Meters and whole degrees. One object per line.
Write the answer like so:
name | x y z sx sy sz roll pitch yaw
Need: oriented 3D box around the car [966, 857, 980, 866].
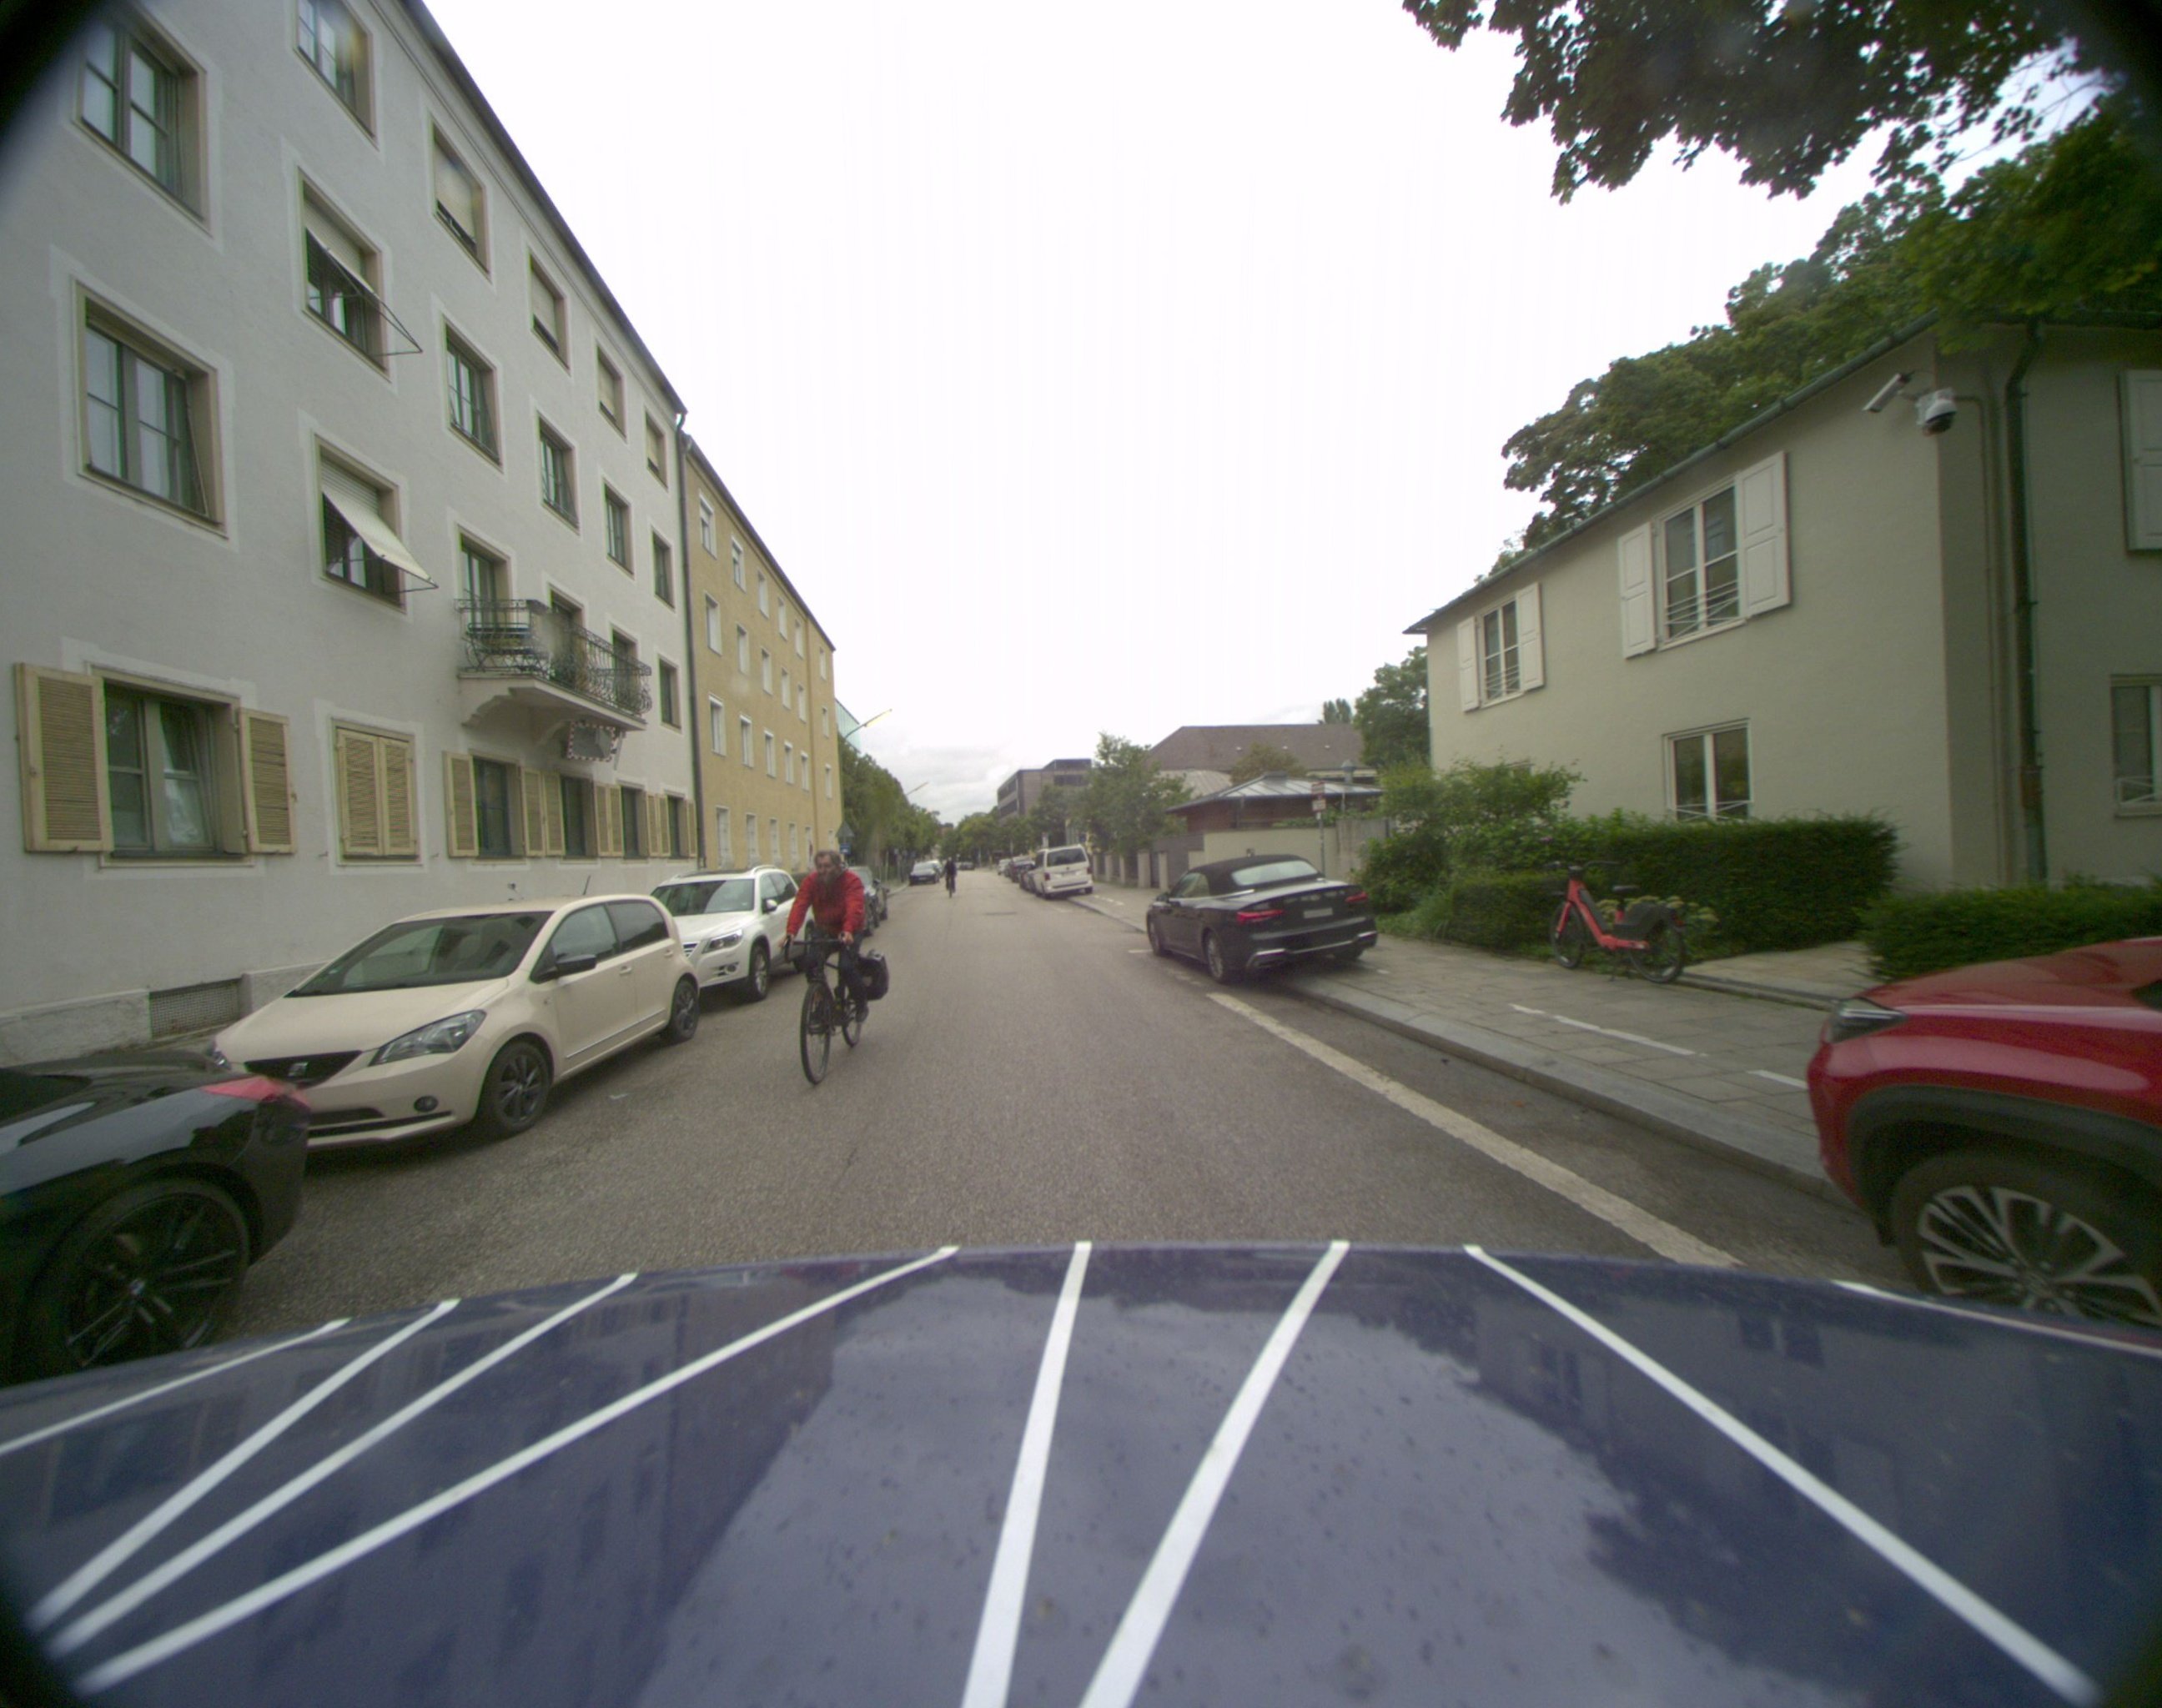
car | -18.782 1.333 131.687 1.931 1.390 4.482 -3 0 -13

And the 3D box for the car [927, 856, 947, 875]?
car | -15.798 1.267 83.618 1.790 1.885 4.570 -4 1 -8

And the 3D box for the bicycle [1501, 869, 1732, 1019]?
bicycle | 4.826 0.736 7.062 0.651 1.124 2.047 -3 0 -1

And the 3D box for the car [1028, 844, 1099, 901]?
car | -0.824 0.698 30.959 1.973 1.979 5.147 -5 1 -10

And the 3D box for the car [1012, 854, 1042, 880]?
car | -3.789 0.869 52.680 1.851 1.598 4.739 -4 1 -6

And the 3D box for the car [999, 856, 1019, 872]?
car | -7.307 0.984 77.051 1.730 1.483 4.458 -4 1 -8

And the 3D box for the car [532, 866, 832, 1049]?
car | -4.969 1.128 10.352 2.000 1.697 4.531 -5 1 -7

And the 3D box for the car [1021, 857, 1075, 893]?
car | -1.691 0.955 36.867 1.893 1.535 4.691 -3 0 -11

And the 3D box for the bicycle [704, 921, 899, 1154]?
bicycle | -1.895 1.178 5.510 0.674 1.135 2.010 -4 1 -3

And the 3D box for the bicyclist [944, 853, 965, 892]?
bicyclist | -5.668 0.814 34.151 0.781 1.657 1.034 -4 0 -7

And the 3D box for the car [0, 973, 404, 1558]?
car | -3.703 1.189 0.943 2.006 1.311 4.592 -1 0 -7

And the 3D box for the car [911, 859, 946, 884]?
car | -11.407 1.273 57.229 1.999 1.621 5.096 -4 1 -6

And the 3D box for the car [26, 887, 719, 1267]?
car | -4.481 1.211 5.758 1.776 1.537 3.709 -8 1 -5

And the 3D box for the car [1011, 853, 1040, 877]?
car | -4.410 0.799 59.569 1.908 1.682 4.805 -4 1 -7

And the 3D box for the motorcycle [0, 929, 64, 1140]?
motorcycle | -7.783 1.282 4.210 0.860 1.425 2.704 -3 0 -9

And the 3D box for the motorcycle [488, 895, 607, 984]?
motorcycle | -8.981 1.391 12.914 0.734 1.232 2.006 -4 1 -8

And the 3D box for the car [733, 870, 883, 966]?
car | -5.389 1.176 15.640 1.844 1.522 4.413 -2 0 -6

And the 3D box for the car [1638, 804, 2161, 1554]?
car | 3.379 0.674 0.756 1.893 1.581 4.524 -4 1 -7

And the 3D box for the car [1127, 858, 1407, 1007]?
car | 2.132 0.829 10.407 1.813 1.394 4.919 -4 1 -10

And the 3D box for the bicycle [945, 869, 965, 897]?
bicycle | -5.632 1.292 34.153 0.721 1.199 1.800 -4 0 -7

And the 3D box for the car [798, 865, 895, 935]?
car | -6.318 1.156 21.000 1.866 1.568 4.895 -2 0 -10

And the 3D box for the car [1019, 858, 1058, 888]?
car | -2.398 0.998 41.904 1.864 1.535 4.185 -1 0 -7

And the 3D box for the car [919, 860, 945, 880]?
car | -13.043 1.373 66.623 2.000 1.451 4.952 -4 1 -10

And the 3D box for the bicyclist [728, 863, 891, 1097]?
bicyclist | -1.921 0.842 5.536 0.756 1.474 0.981 -4 1 -3
